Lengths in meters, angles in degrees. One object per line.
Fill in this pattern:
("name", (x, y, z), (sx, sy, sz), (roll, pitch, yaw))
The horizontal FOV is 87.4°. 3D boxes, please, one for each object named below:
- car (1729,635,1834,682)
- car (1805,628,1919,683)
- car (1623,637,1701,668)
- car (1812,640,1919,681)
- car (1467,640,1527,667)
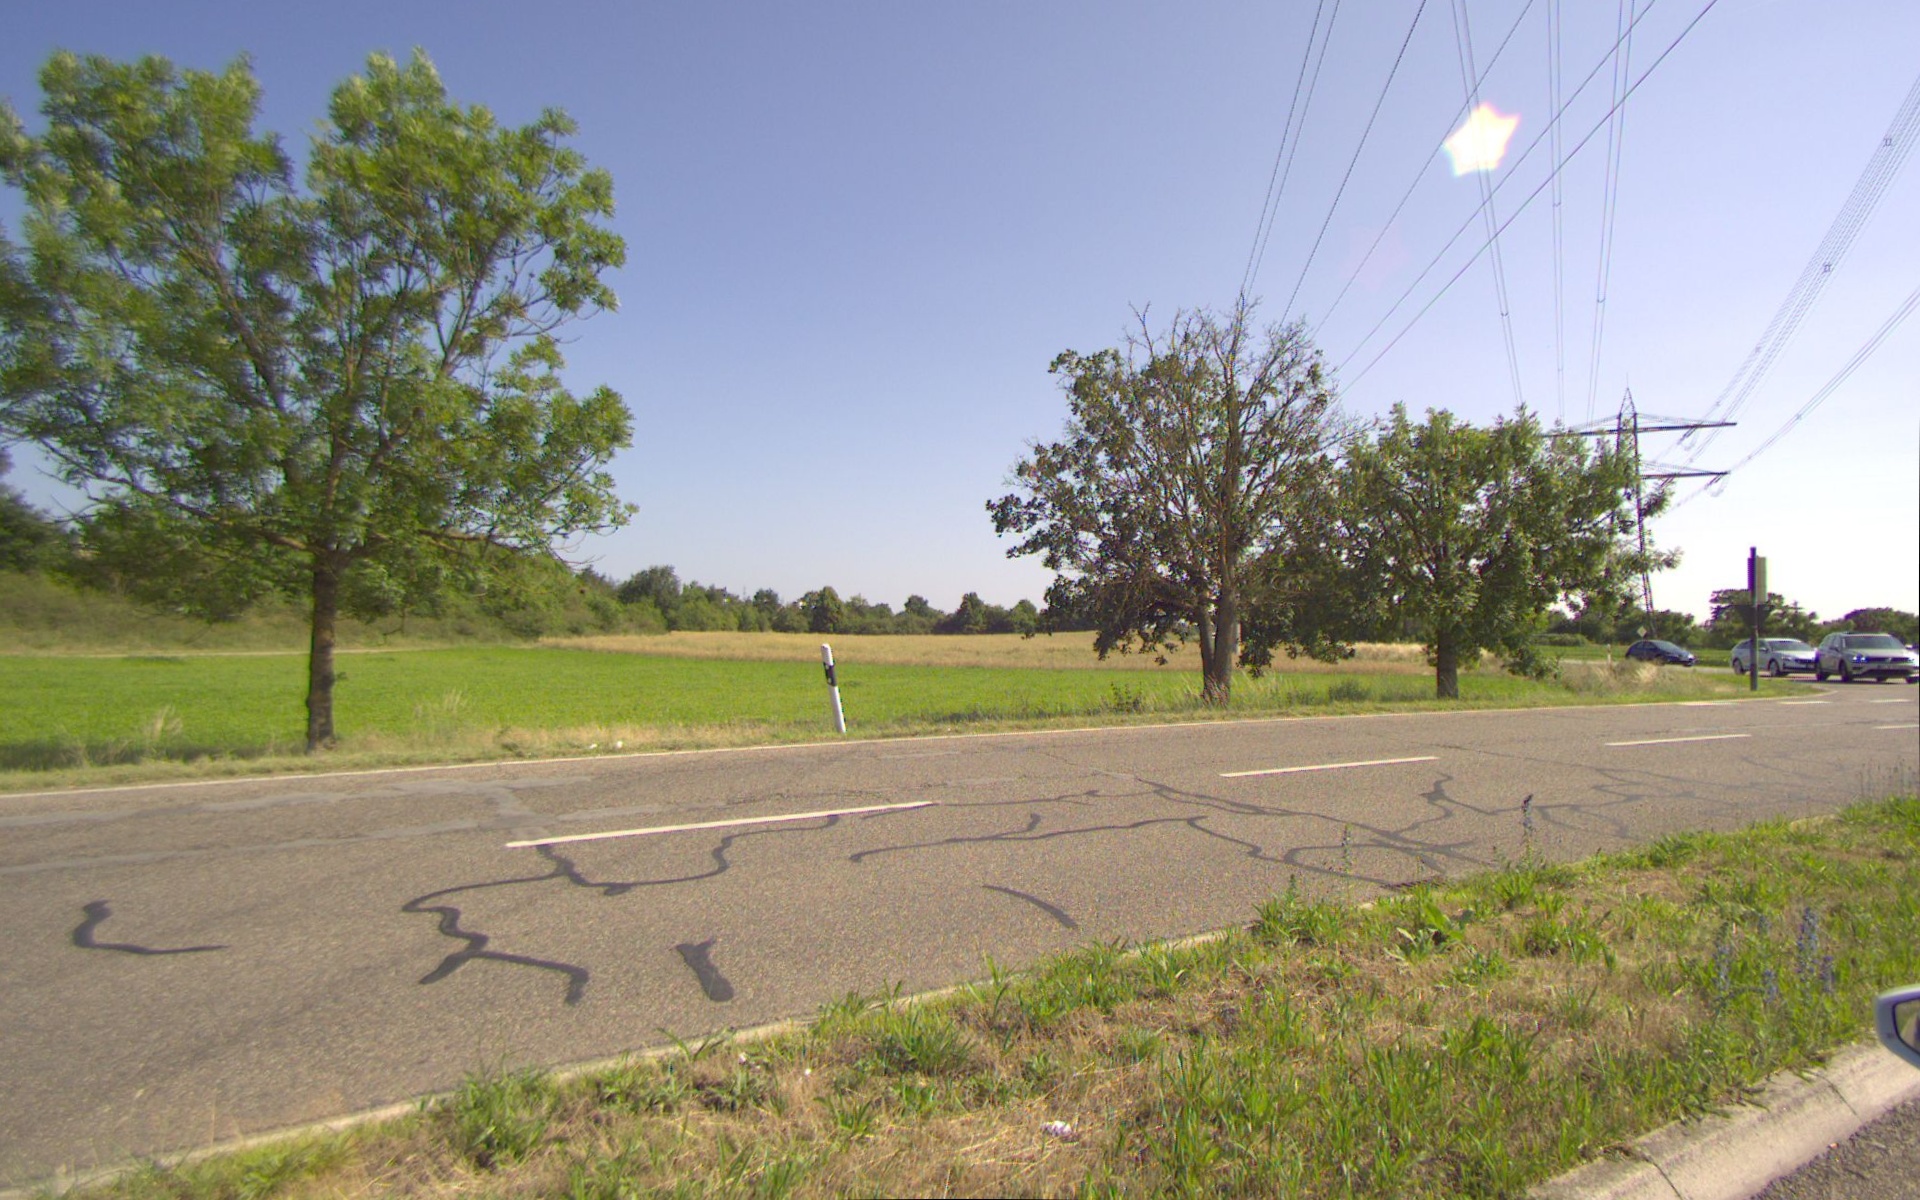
("car", (31.913, 2.240, 39.148), (1.784, 1.673, 4.002), (0, -2, 17))
("car", (29.442, 1.771, 32.912), (1.786, 1.673, 3.996), (0, -2, 26))
("car", (40.672, 3.019, 58.328), (1.784, 1.673, 4.001), (1, -1, 1))
("car", (40.399, 2.640, 44.619), (1.784, 1.673, 4.001), (1, -1, 1))
("car", (37.724, 3.737, 70.722), (1.784, 1.673, 4.762), (1, -1, 1))
